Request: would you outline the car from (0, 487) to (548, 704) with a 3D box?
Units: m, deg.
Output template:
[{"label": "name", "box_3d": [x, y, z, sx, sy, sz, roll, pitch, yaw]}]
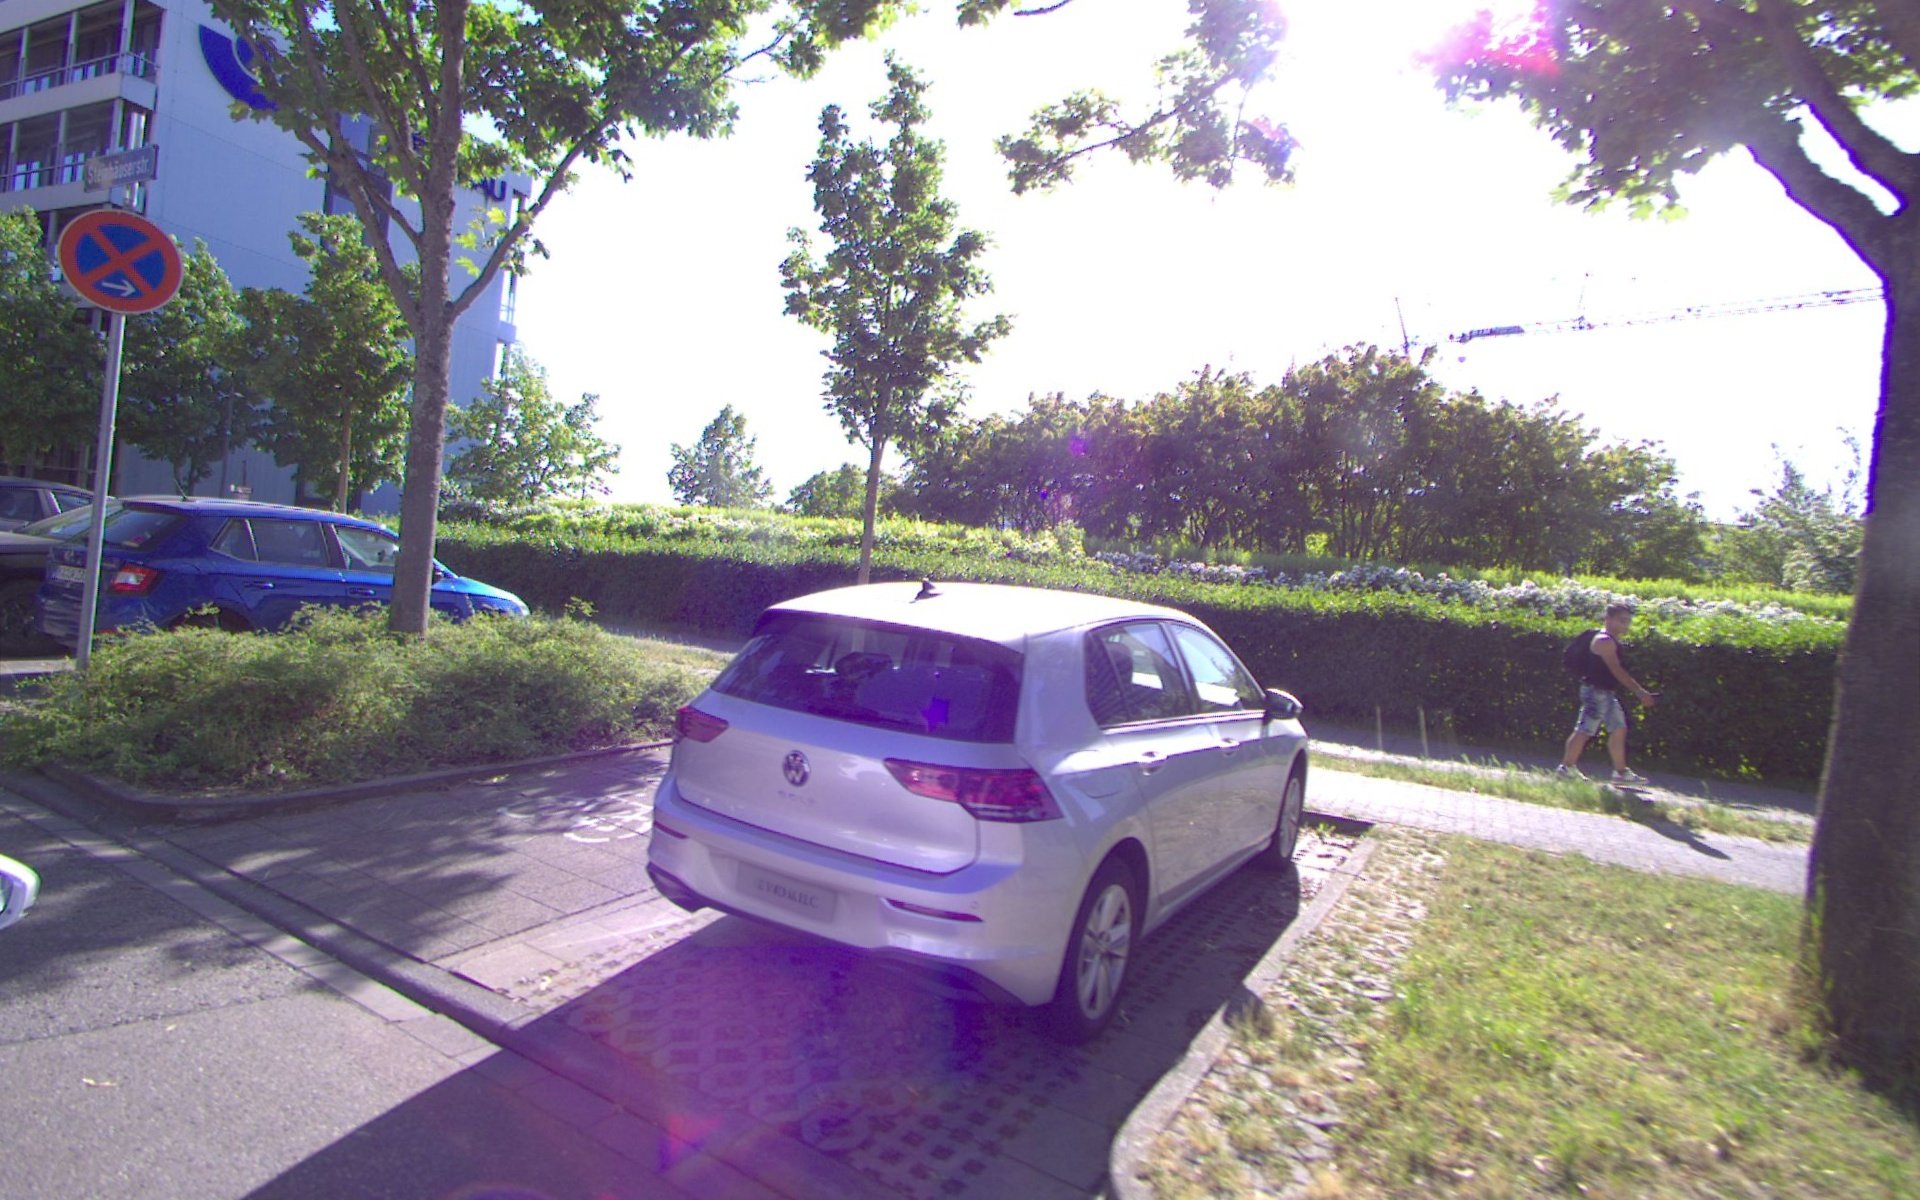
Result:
[{"label": "car", "box_3d": [-5.921, -0.104, 9.113, 1.714, 1.469, 3.805, 6, 4, 28]}]

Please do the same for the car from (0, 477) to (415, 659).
[{"label": "car", "box_3d": [-8.357, -0.350, 10.208, 2.120, 1.535, 4.553, 6, 2, 26]}]

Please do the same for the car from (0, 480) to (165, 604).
[{"label": "car", "box_3d": [-12.886, -0.795, 12.344, 1.945, 1.535, 4.558, 6, 2, 20]}]

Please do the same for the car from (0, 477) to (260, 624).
[{"label": "car", "box_3d": [-10.542, -0.584, 11.422, 1.720, 1.535, 3.879, 6, 2, 26]}]

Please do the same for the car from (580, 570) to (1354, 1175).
[{"label": "car", "box_3d": [0.502, 0.677, 4.709, 1.616, 1.449, 4.085, 6, 4, 33]}]

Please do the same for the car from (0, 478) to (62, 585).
[{"label": "car", "box_3d": [-15.075, -1.065, 13.672, 1.670, 1.535, 3.955, 6, 2, 20]}]

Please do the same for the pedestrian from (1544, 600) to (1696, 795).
[{"label": "pedestrian", "box_3d": [5.831, 0.832, 8.946, 0.921, 1.562, 0.607, 7, 2, 28]}]
